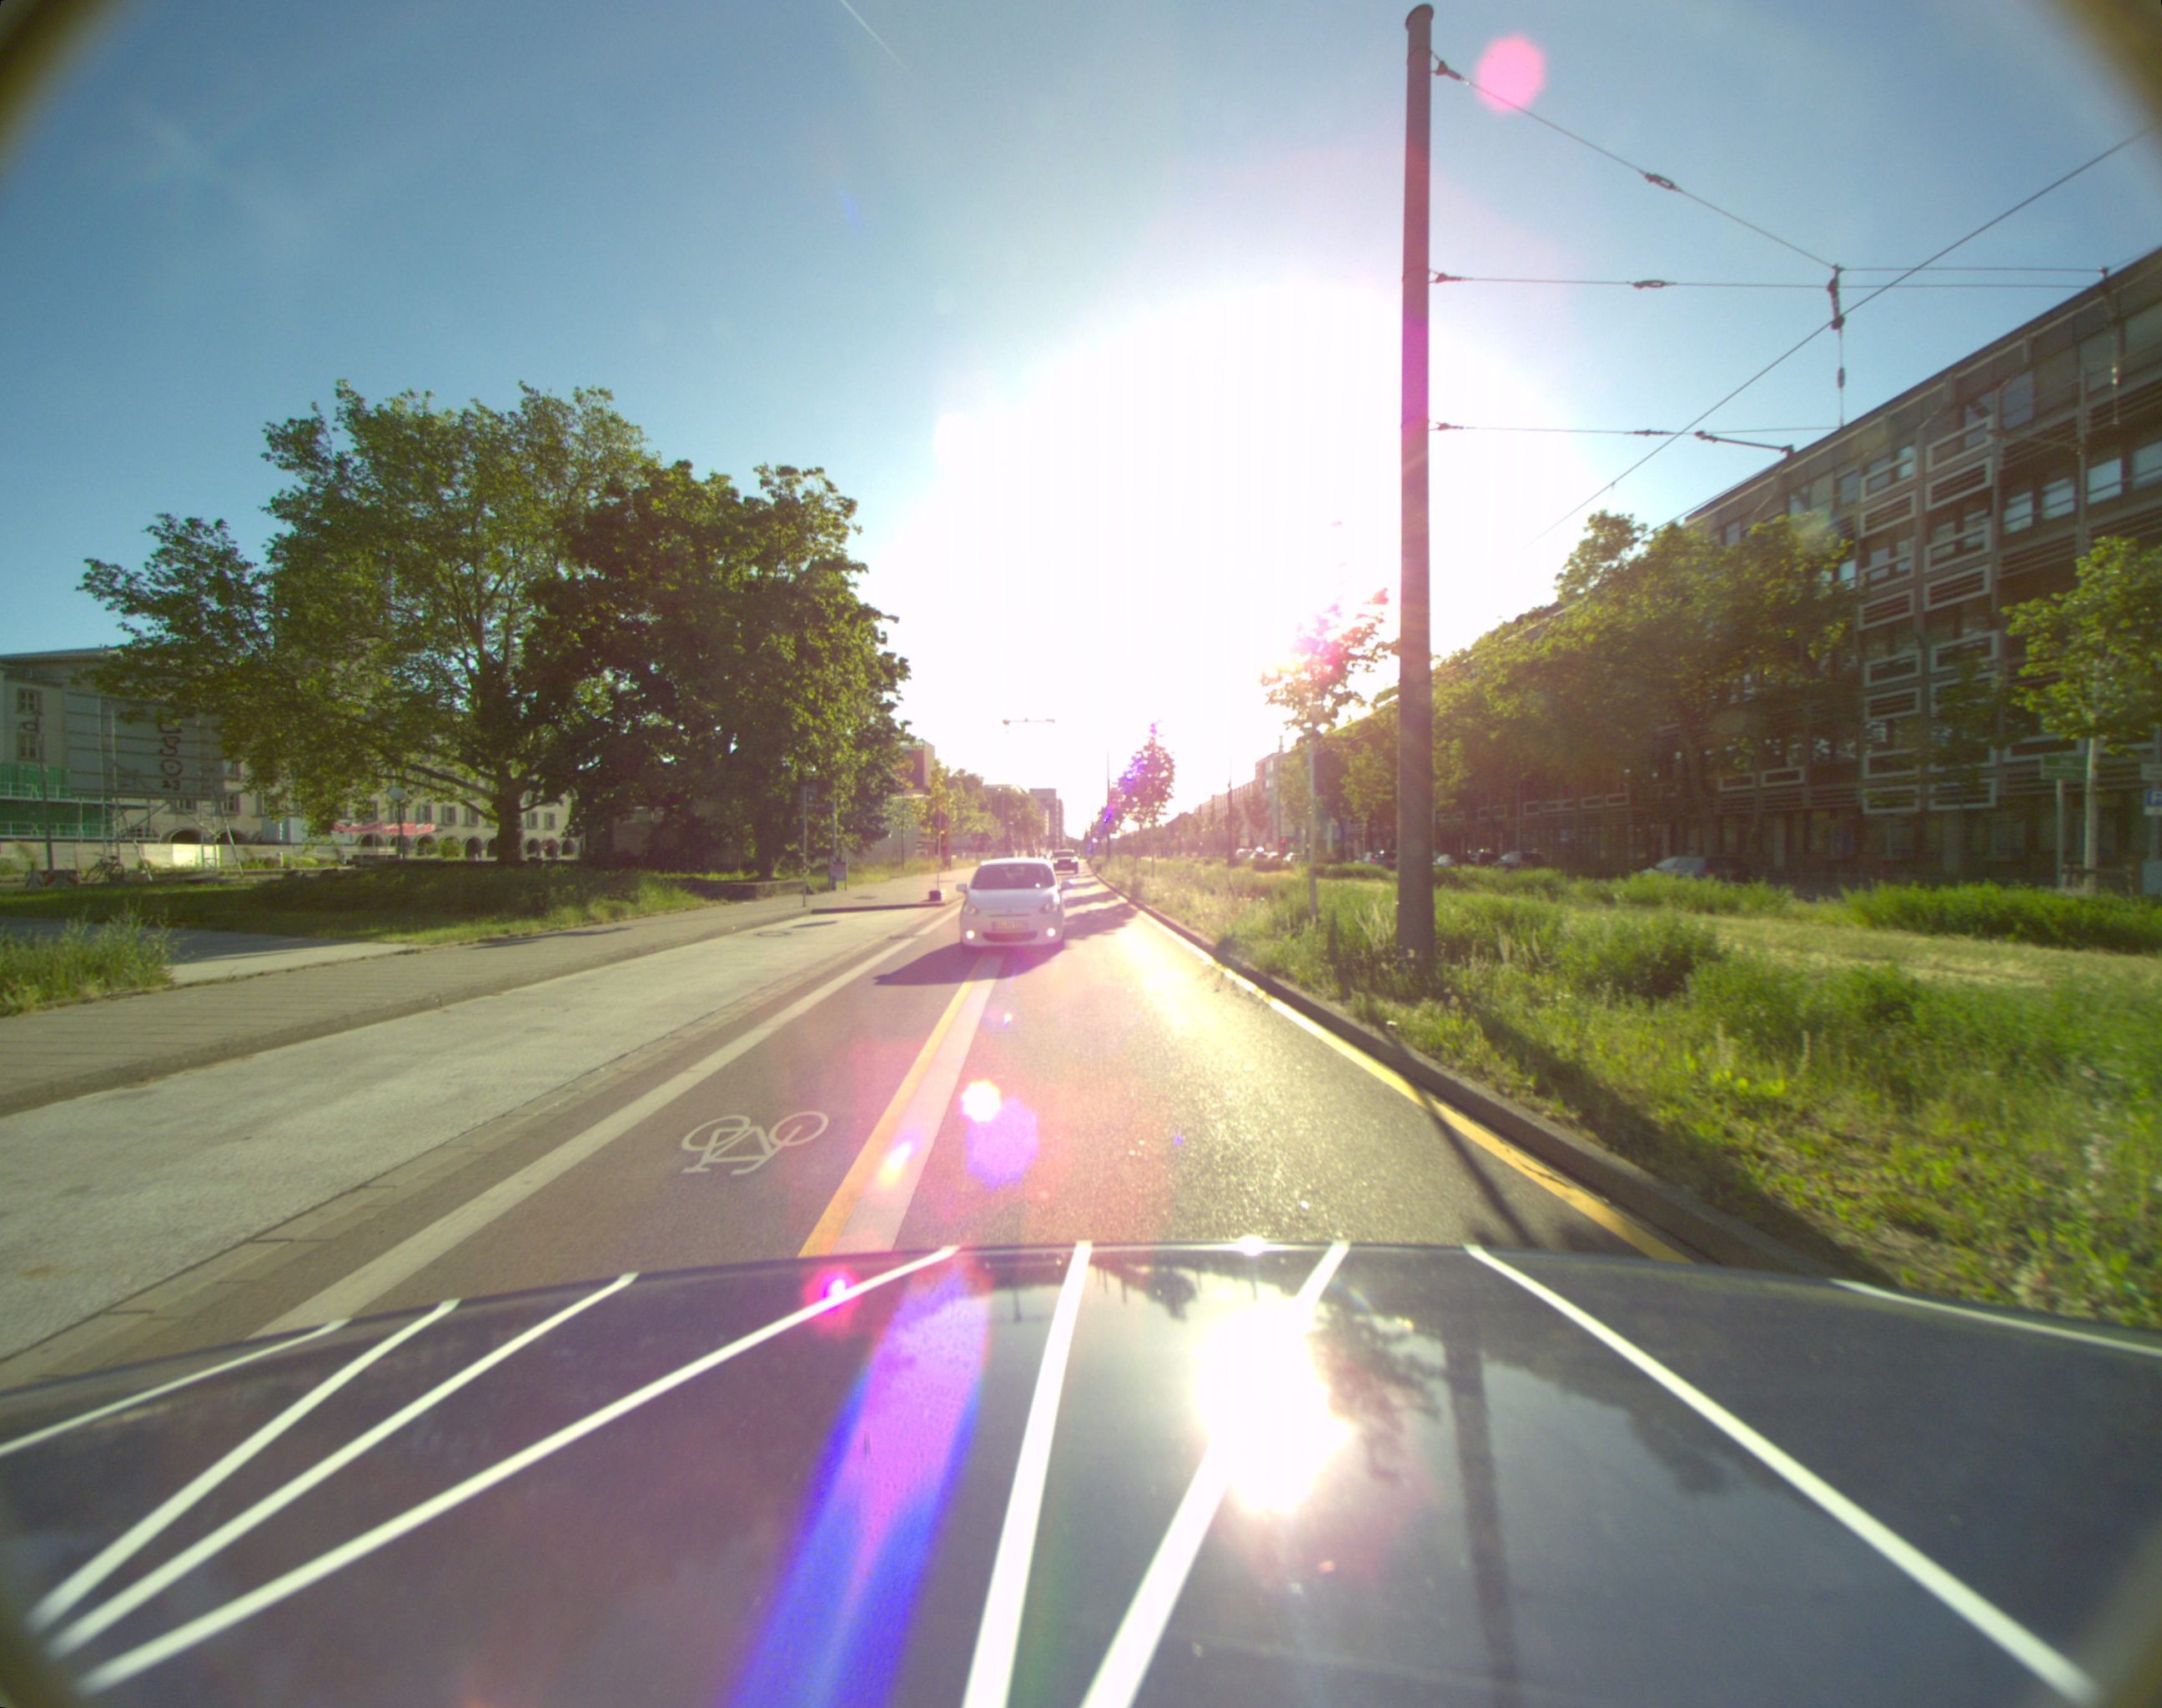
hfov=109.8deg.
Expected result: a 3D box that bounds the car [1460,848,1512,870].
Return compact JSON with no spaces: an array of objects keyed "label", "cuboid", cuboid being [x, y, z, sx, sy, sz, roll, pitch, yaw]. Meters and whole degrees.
[{"label":"car","cuboid":[29.585,0.350,55.599,1.726,1.477,3.630,-2,1,-2]}]

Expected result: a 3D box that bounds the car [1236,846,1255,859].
[{"label":"car","cuboid":[22.131,-0.171,102.343,1.865,1.671,3.779,0,0,1]}]

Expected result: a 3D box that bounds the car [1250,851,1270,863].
[{"label":"car","cuboid":[21.655,0.350,92.146,1.555,1.371,3.779,0,0,1]}]

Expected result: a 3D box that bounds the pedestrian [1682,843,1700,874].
[{"label":"pedestrian","cuboid":[34.171,0.246,42.585,0.483,1.739,0.639,0,1,1]}]

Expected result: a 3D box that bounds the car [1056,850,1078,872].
[{"label":"car","cuboid":[-0.984,0.484,53.803,1.459,1.472,3.527,-1,0,-1]}]

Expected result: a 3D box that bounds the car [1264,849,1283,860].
[{"label":"car","cuboid":[24.814,0.092,98.217,1.555,1.371,3.779,0,0,1]}]

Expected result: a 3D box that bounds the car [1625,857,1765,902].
[{"label":"car","cuboid":[21.530,0.828,26.884,1.720,1.379,4.039,-2,0,1]}]

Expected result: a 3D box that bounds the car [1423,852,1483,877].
[{"label":"car","cuboid":[23.151,0.597,47.441,1.632,1.487,4.416,0,0,1]}]

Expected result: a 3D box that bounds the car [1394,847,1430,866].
[{"label":"car","cuboid":[28.978,0.197,66.697,1.511,1.592,3.526,-2,1,-2]}]

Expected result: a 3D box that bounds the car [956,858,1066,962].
[{"label":"car","cuboid":[-1.147,0.869,13.413,1.615,1.489,3.393,-3,1,-3]}]

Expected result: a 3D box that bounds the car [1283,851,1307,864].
[{"label":"car","cuboid":[24.495,0.405,87.083,1.632,1.487,3.779,0,0,1]}]

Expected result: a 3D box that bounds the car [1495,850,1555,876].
[{"label":"car","cuboid":[28.984,0.562,49.717,1.726,1.535,3.630,-2,0,-2]}]

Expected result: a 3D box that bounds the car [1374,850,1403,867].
[{"label":"car","cuboid":[29.310,0.391,72.450,1.390,1.592,3.265,-2,1,-2]}]

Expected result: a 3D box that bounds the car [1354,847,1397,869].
[{"label":"car","cuboid":[20.745,0.246,53.666,1.632,1.487,3.779,0,0,1]}]
